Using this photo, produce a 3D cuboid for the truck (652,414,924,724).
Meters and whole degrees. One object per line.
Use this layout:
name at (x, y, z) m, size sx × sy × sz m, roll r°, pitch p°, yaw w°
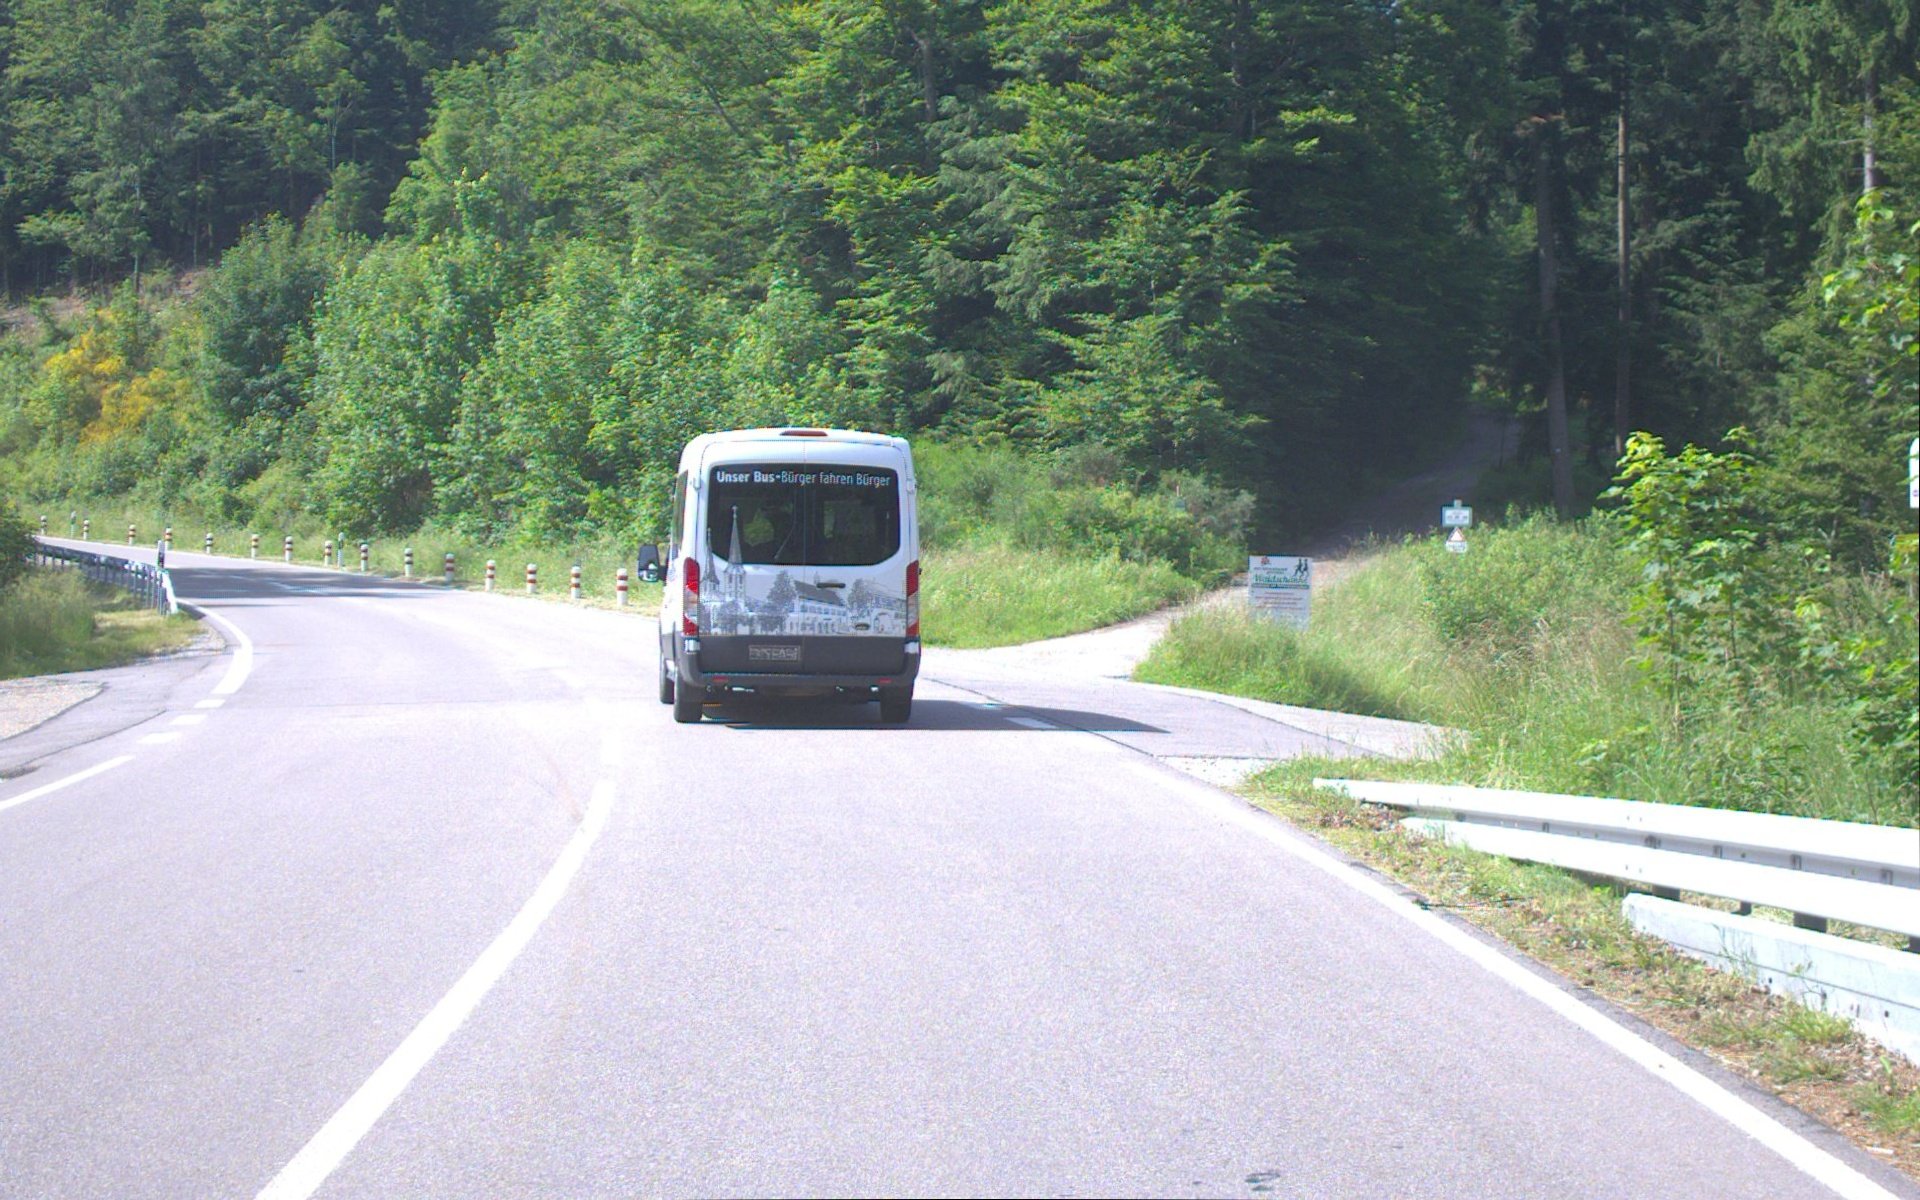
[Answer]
truck at (-1.629, -0.302, 30.515) m, size 2.115 × 2.489 × 5.360 m, roll 0°, pitch 1°, yaw -6°
